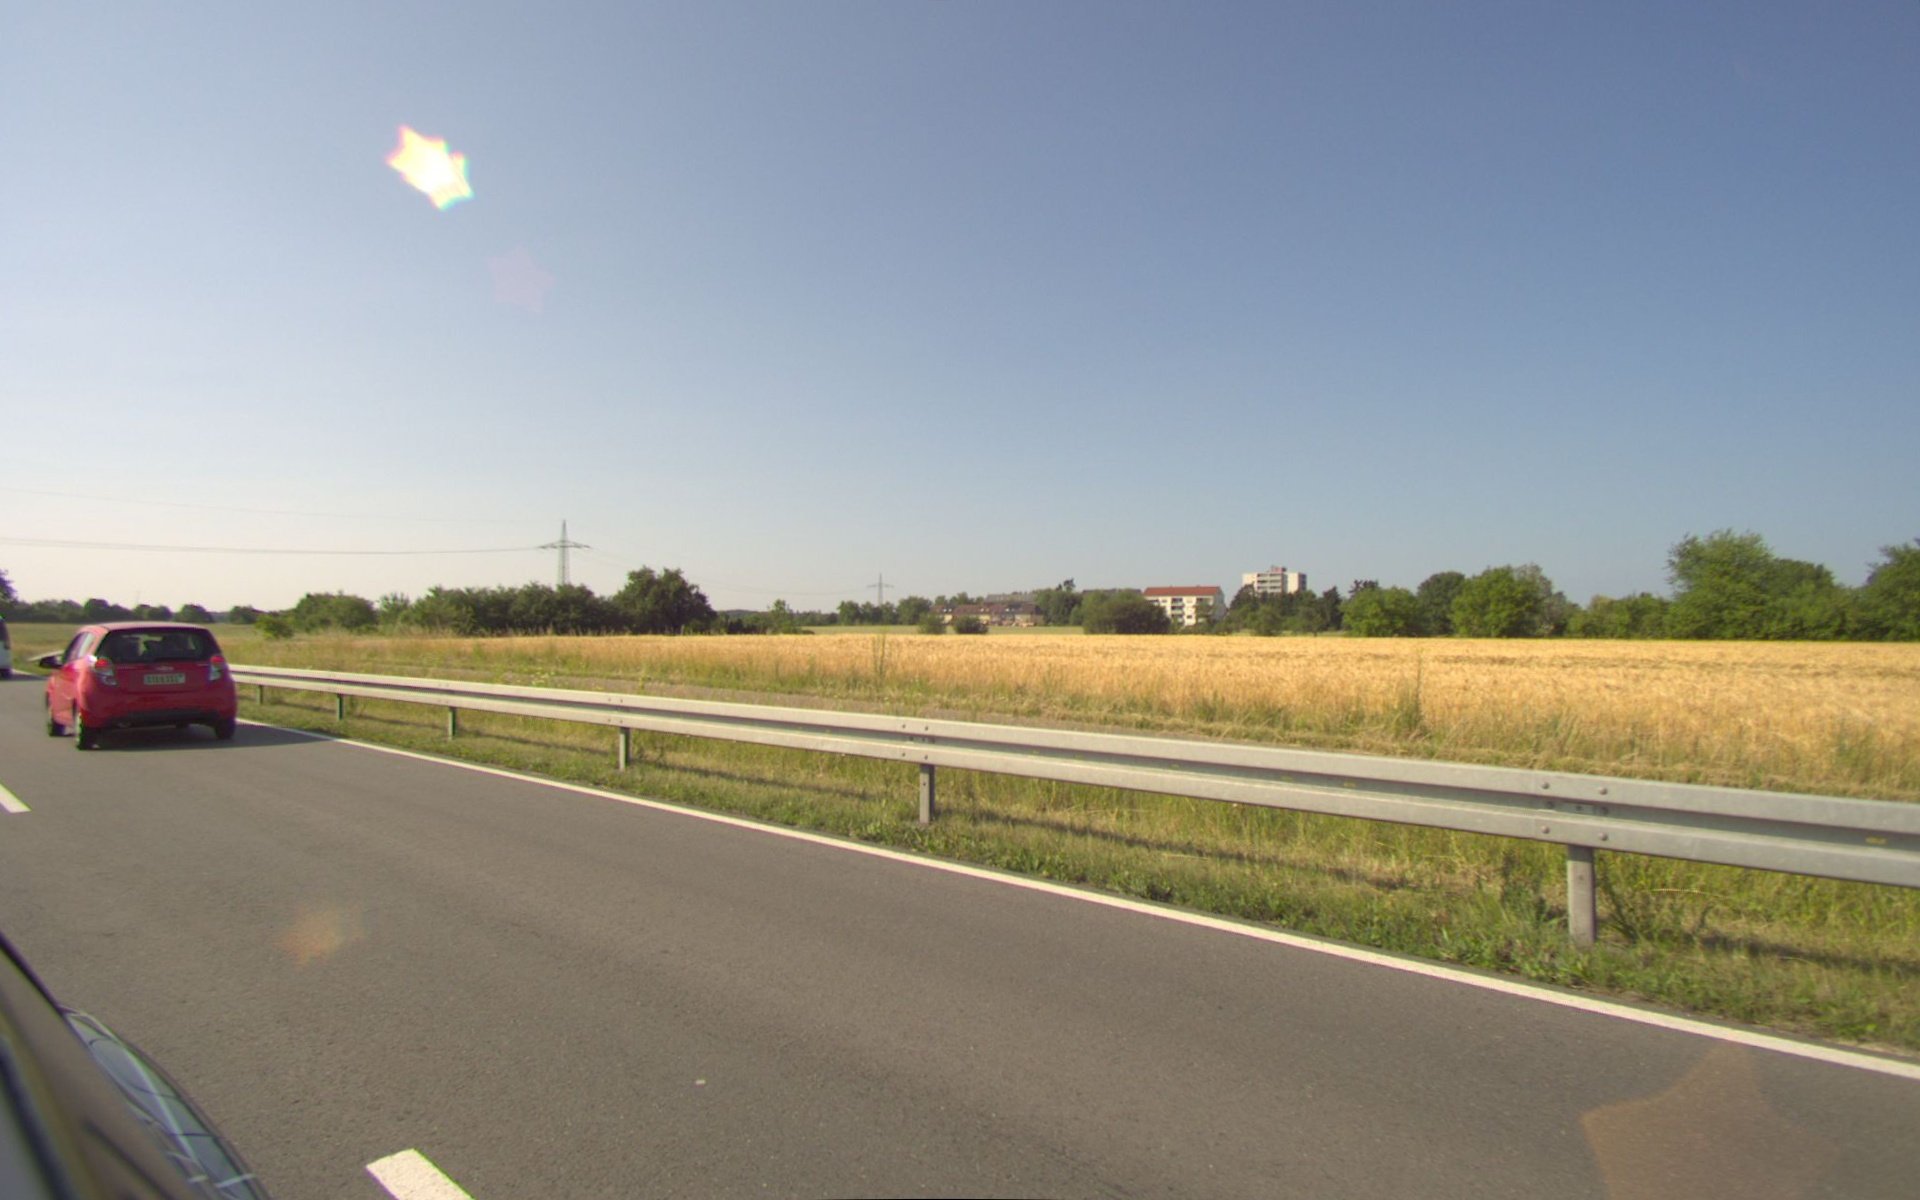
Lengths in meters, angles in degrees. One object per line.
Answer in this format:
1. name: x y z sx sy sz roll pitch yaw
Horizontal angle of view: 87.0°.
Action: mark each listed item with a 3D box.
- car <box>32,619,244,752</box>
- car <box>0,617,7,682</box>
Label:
1. car: -10.951 1.028 13.399 3.778 1.499 1.590 -2 -2 41
2. car: -28.716 1.422 28.894 4.433 1.800 1.817 -2 -2 42
